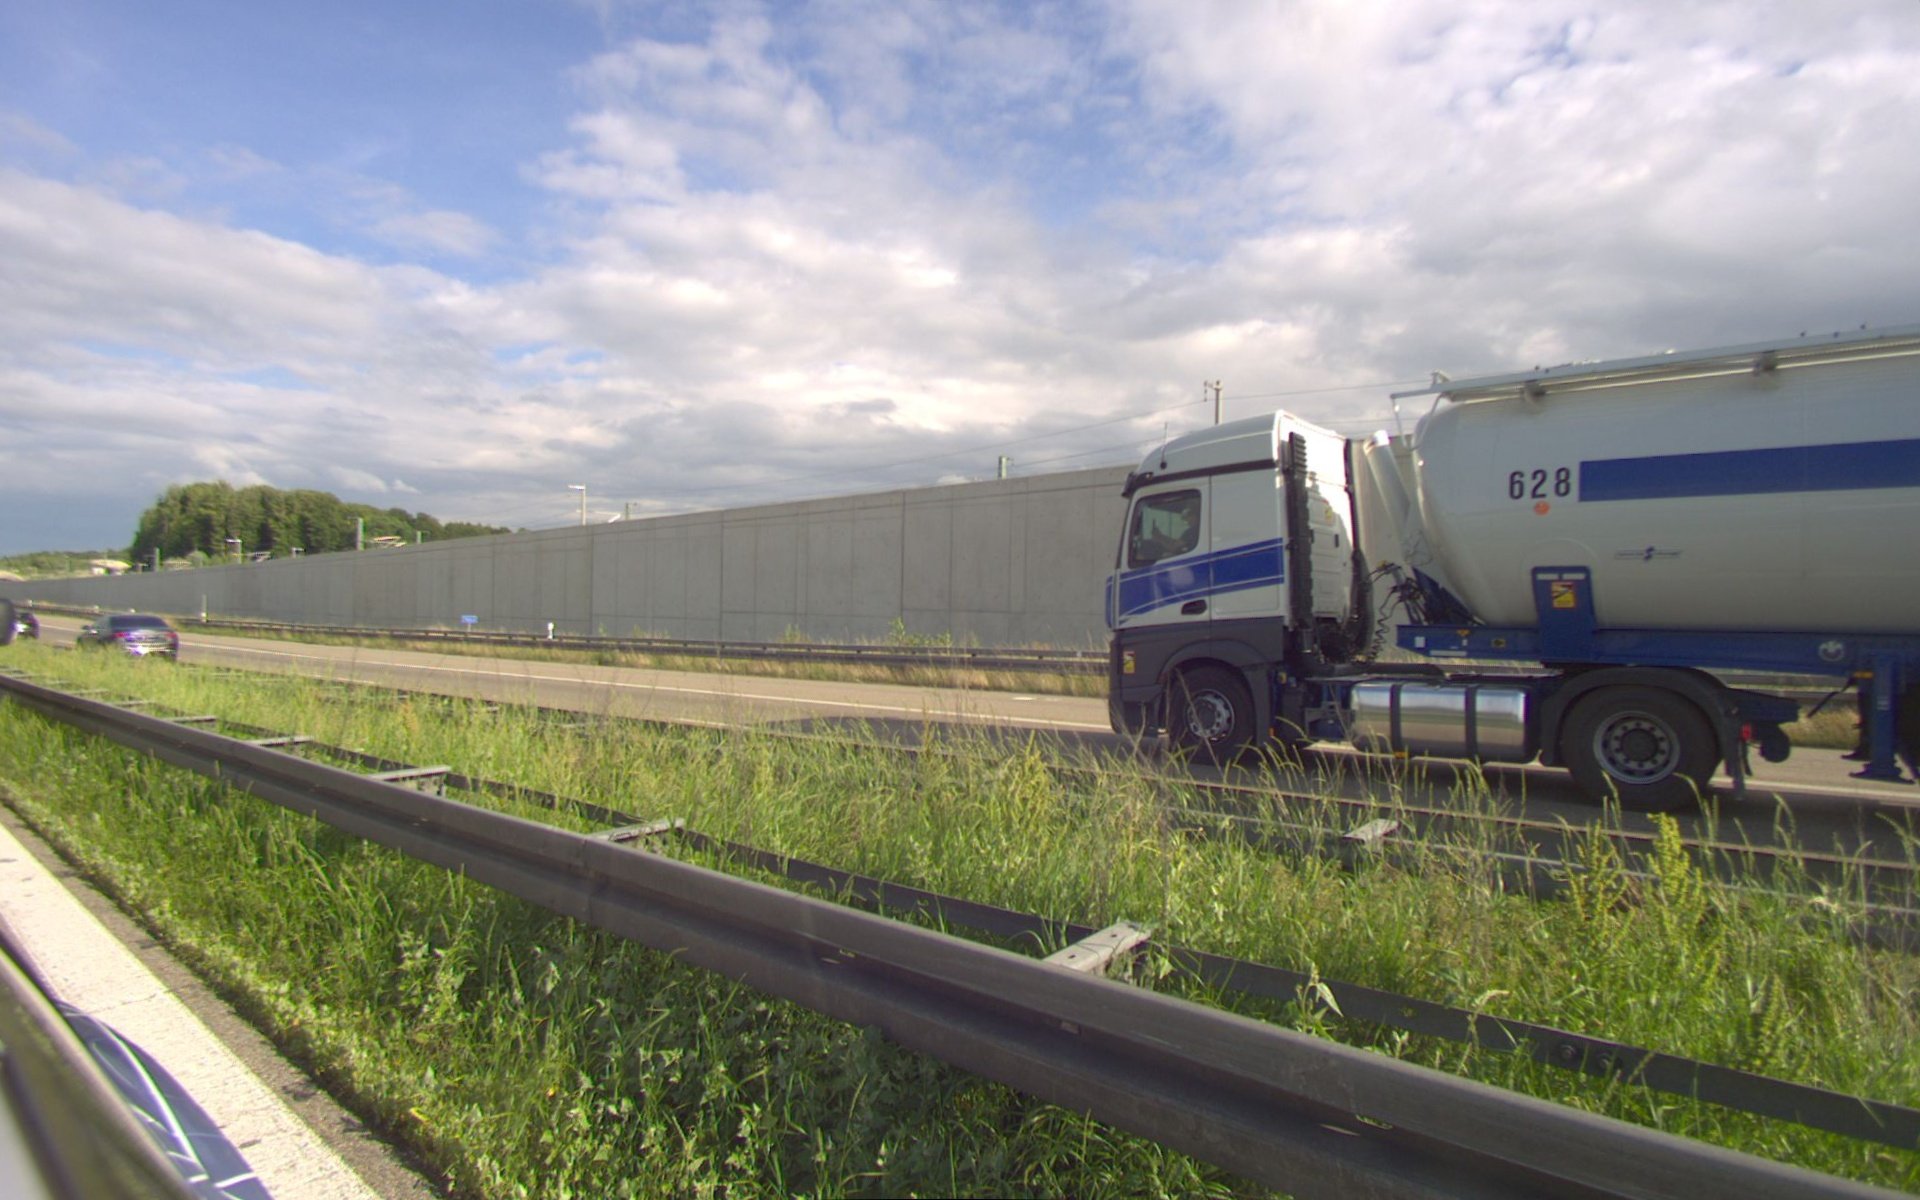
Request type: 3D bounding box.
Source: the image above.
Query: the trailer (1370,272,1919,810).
[{"bbox_3d":[9.452,-0.407,6.485,12.533,3.799,2.514,0,-2,41],"label":"trailer"}]

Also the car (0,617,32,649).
[{"bbox_3d":[-48.026,1.622,50.441,4.393,1.497,1.974,-1,0,39],"label":"car"}]

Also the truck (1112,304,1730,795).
[{"bbox_3d":[4.589,-0.355,10.598,5.413,3.827,2.526,-1,-2,40],"label":"truck"}]

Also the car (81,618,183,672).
[{"bbox_3d":[-26.310,1.371,32.097,4.689,1.528,1.784,-1,0,42],"label":"car"}]
